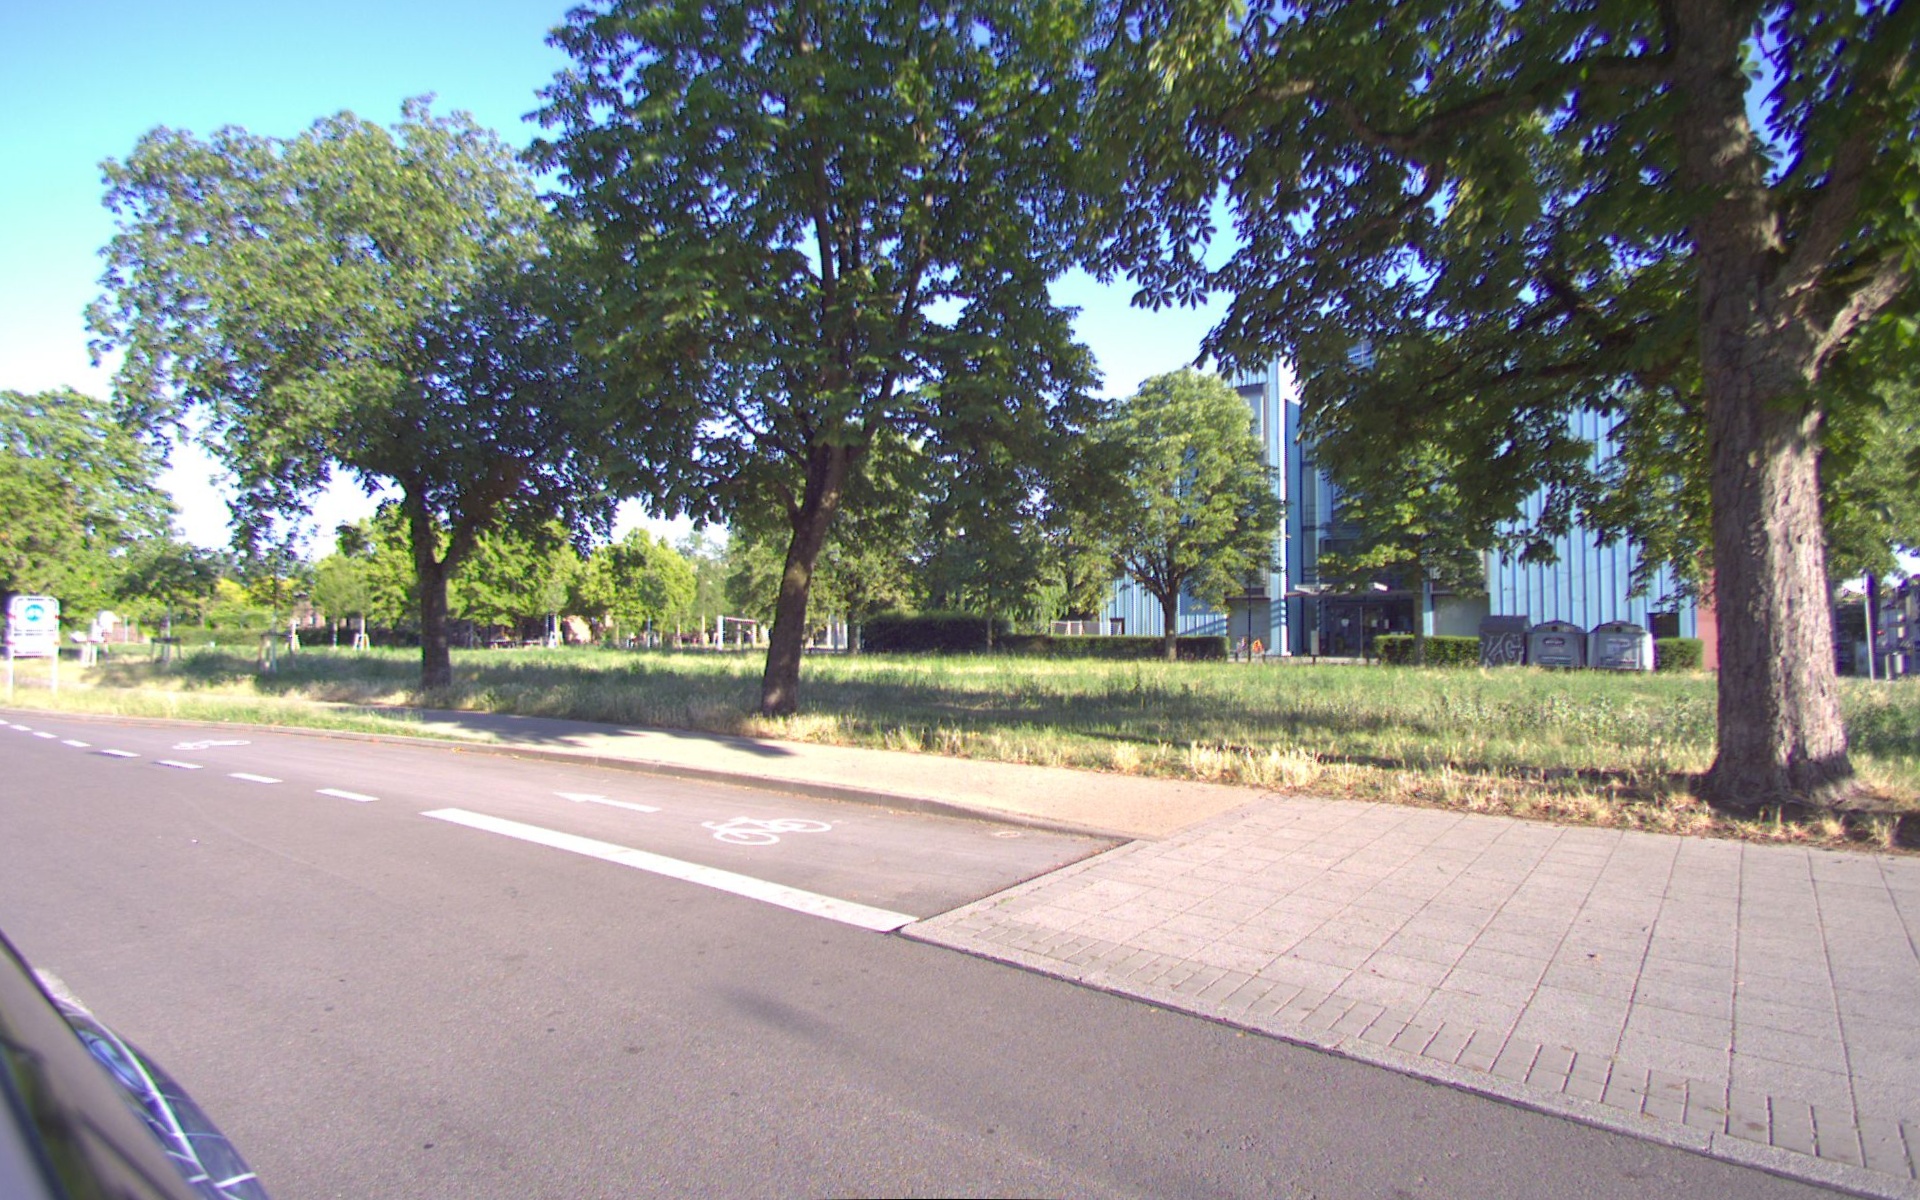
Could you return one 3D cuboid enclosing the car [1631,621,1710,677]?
[{"bbox_3d":[23.749,1.671,33.752,1.996,1.684,5.158,-1,-4,37],"label":"car"}]
